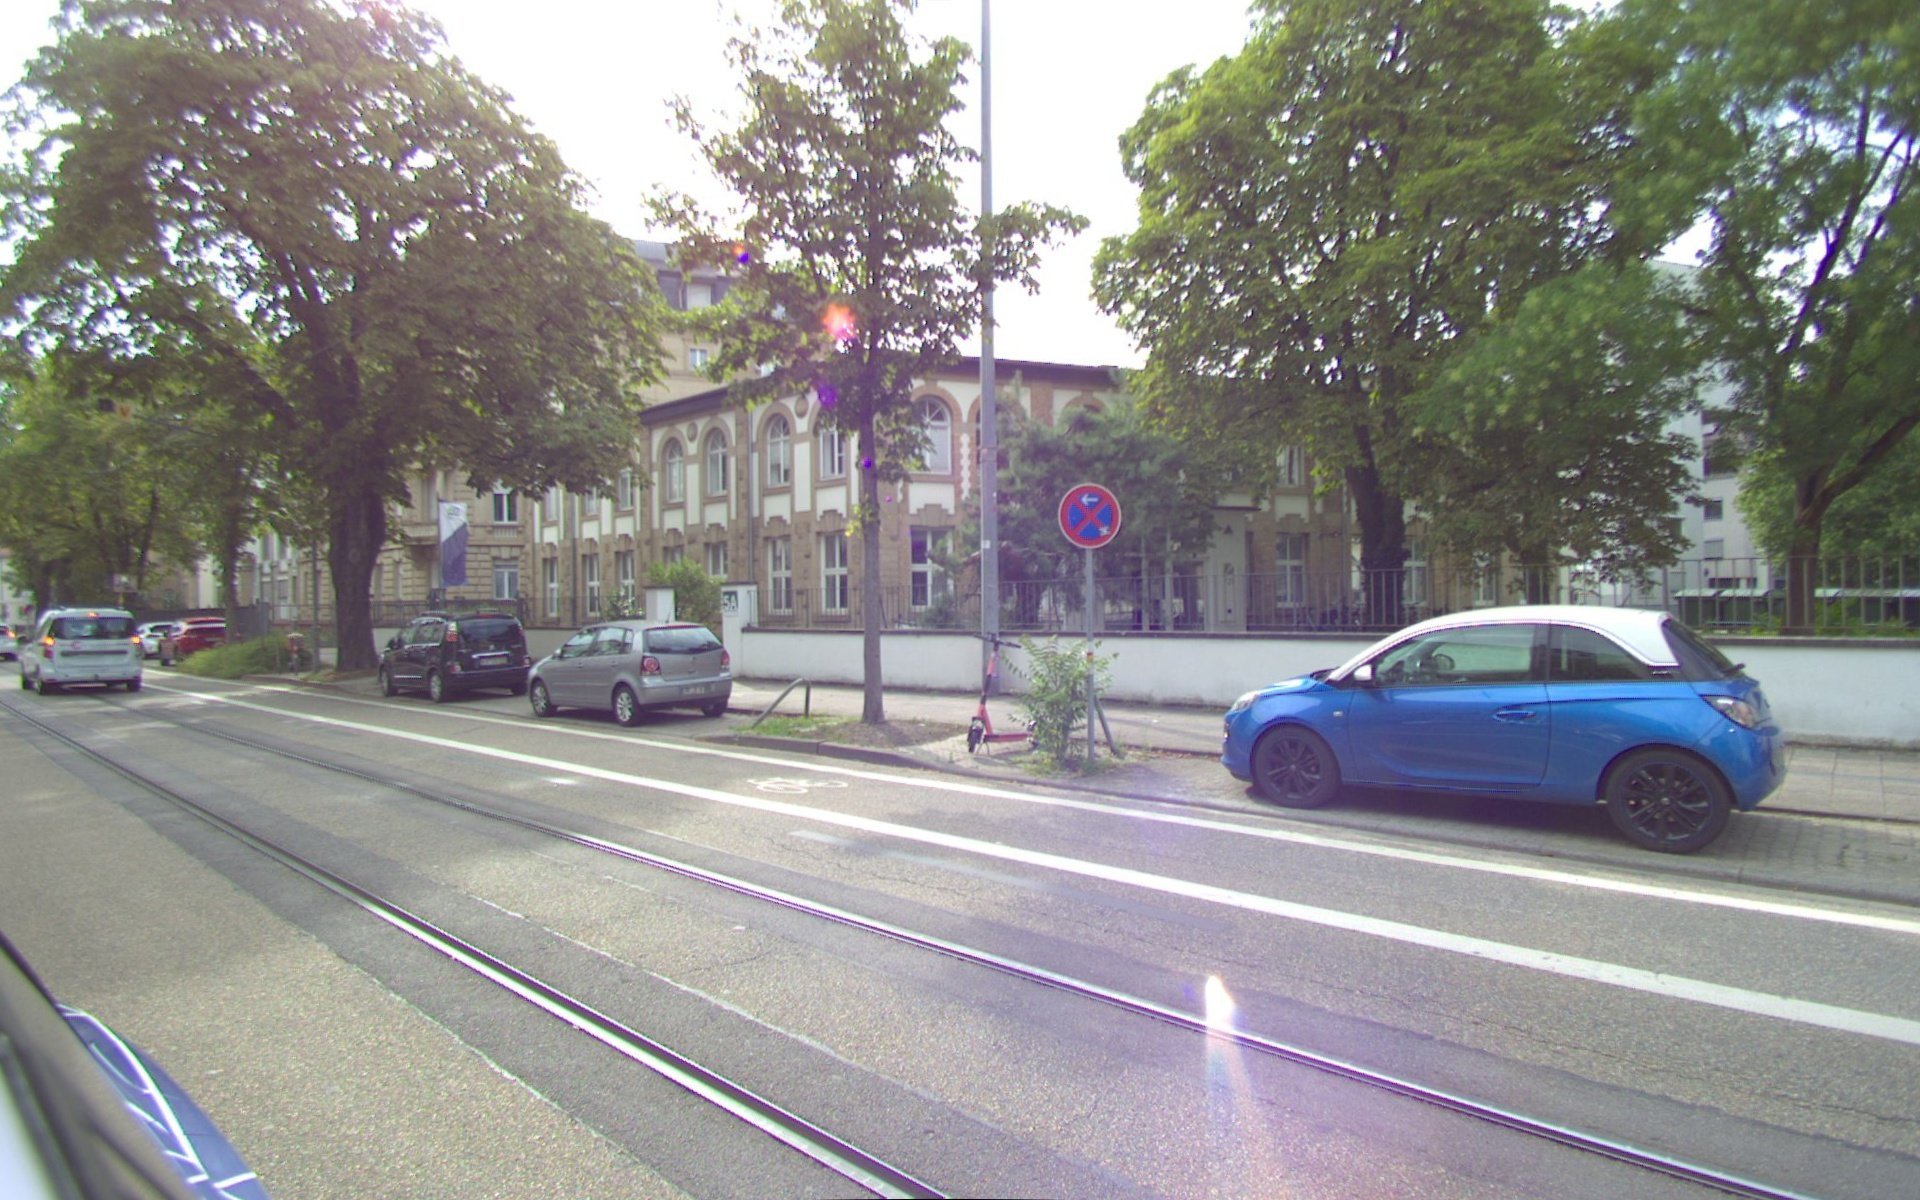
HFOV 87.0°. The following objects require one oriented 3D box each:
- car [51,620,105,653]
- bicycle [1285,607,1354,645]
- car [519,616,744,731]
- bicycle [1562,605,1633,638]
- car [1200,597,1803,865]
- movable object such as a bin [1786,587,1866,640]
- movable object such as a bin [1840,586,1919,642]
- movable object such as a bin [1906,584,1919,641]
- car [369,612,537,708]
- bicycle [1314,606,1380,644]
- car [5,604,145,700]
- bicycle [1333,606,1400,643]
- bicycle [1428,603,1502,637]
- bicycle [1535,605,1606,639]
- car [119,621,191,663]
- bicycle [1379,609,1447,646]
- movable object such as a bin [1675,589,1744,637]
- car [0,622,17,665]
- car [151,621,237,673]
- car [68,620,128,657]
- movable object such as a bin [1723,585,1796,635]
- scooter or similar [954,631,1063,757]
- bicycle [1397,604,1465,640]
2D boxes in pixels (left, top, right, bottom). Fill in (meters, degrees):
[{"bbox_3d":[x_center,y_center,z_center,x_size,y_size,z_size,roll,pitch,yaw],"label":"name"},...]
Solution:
[{"bbox_3d":[-46.165,1.878,52.968,3.904,1.646,1.637,-2,-1,42],"label":"car"},{"bbox_3d":[10.434,0.735,29.432,0.584,1.051,1.984,-1,0,-30],"label":"bicycle"},{"bbox_3d":[-4.970,1.013,15.121,3.572,1.476,1.611,-2,-1,42],"label":"car"},{"bbox_3d":[20.991,0.688,33.365,0.584,1.051,1.984,-1,0,-23],"label":"bicycle"},{"bbox_3d":[3.784,0.756,7.403,3.601,1.476,1.611,-2,-1,42],"label":"car"},{"bbox_3d":[24.134,0.371,28.218,1.103,1.441,1.288,0,0,-20],"label":"movable object such as a bin"},{"bbox_3d":[24.504,0.367,26.896,1.103,1.441,1.288,0,0,-20],"label":"movable object such as a bin"},{"bbox_3d":[24.848,0.301,25.372,1.103,1.441,1.288,0,0,-20],"label":"movable object such as a bin"},{"bbox_3d":[-9.850,1.093,19.548,3.724,1.646,1.637,-2,-1,42],"label":"car"},{"bbox_3d":[11.314,0.718,29.663,0.584,1.051,1.984,-1,0,-23],"label":"bicycle"},{"bbox_3d":[-19.524,1.091,22.264,4.375,1.898,1.714,-2,-1,41],"label":"car"},{"bbox_3d":[12.012,0.710,29.993,0.584,1.051,1.984,-1,0,-23],"label":"bicycle"},{"bbox_3d":[15.835,0.629,31.766,1.978,1.051,0.586,-1,0,44],"label":"bicycle"},{"bbox_3d":[19.771,0.688,32.820,0.584,1.051,1.984,-1,0,-23],"label":"bicycle"},{"bbox_3d":[-32.779,1.674,41.166,3.904,1.613,1.637,-2,-1,42],"label":"car"},{"bbox_3d":[13.615,0.802,30.475,0.584,1.051,1.984,-1,0,-23],"label":"bicycle"},{"bbox_3d":[22.927,0.384,30.981,1.103,1.441,1.288,0,0,-20],"label":"movable object such as a bin"},{"bbox_3d":[-38.243,1.699,39.534,4.333,1.624,1.713,-1,-2,42],"label":"car"},{"bbox_3d":[-26.520,1.583,35.010,3.904,1.646,1.637,-2,-1,42],"label":"car"},{"bbox_3d":[-40.844,1.814,47.944,3.904,1.646,1.637,-2,-1,42],"label":"car"},{"bbox_3d":[23.431,0.288,29.683,1.103,1.441,1.288,0,0,-20],"label":"movable object such as a bin"},{"bbox_3d":[0.499,0.941,10.388,0.988,1.176,0.370,-3,0,-24],"label":"scooter or similar"},{"bbox_3d":[14.309,0.647,30.810,0.584,1.051,1.984,-1,0,-23],"label":"bicycle"}]
